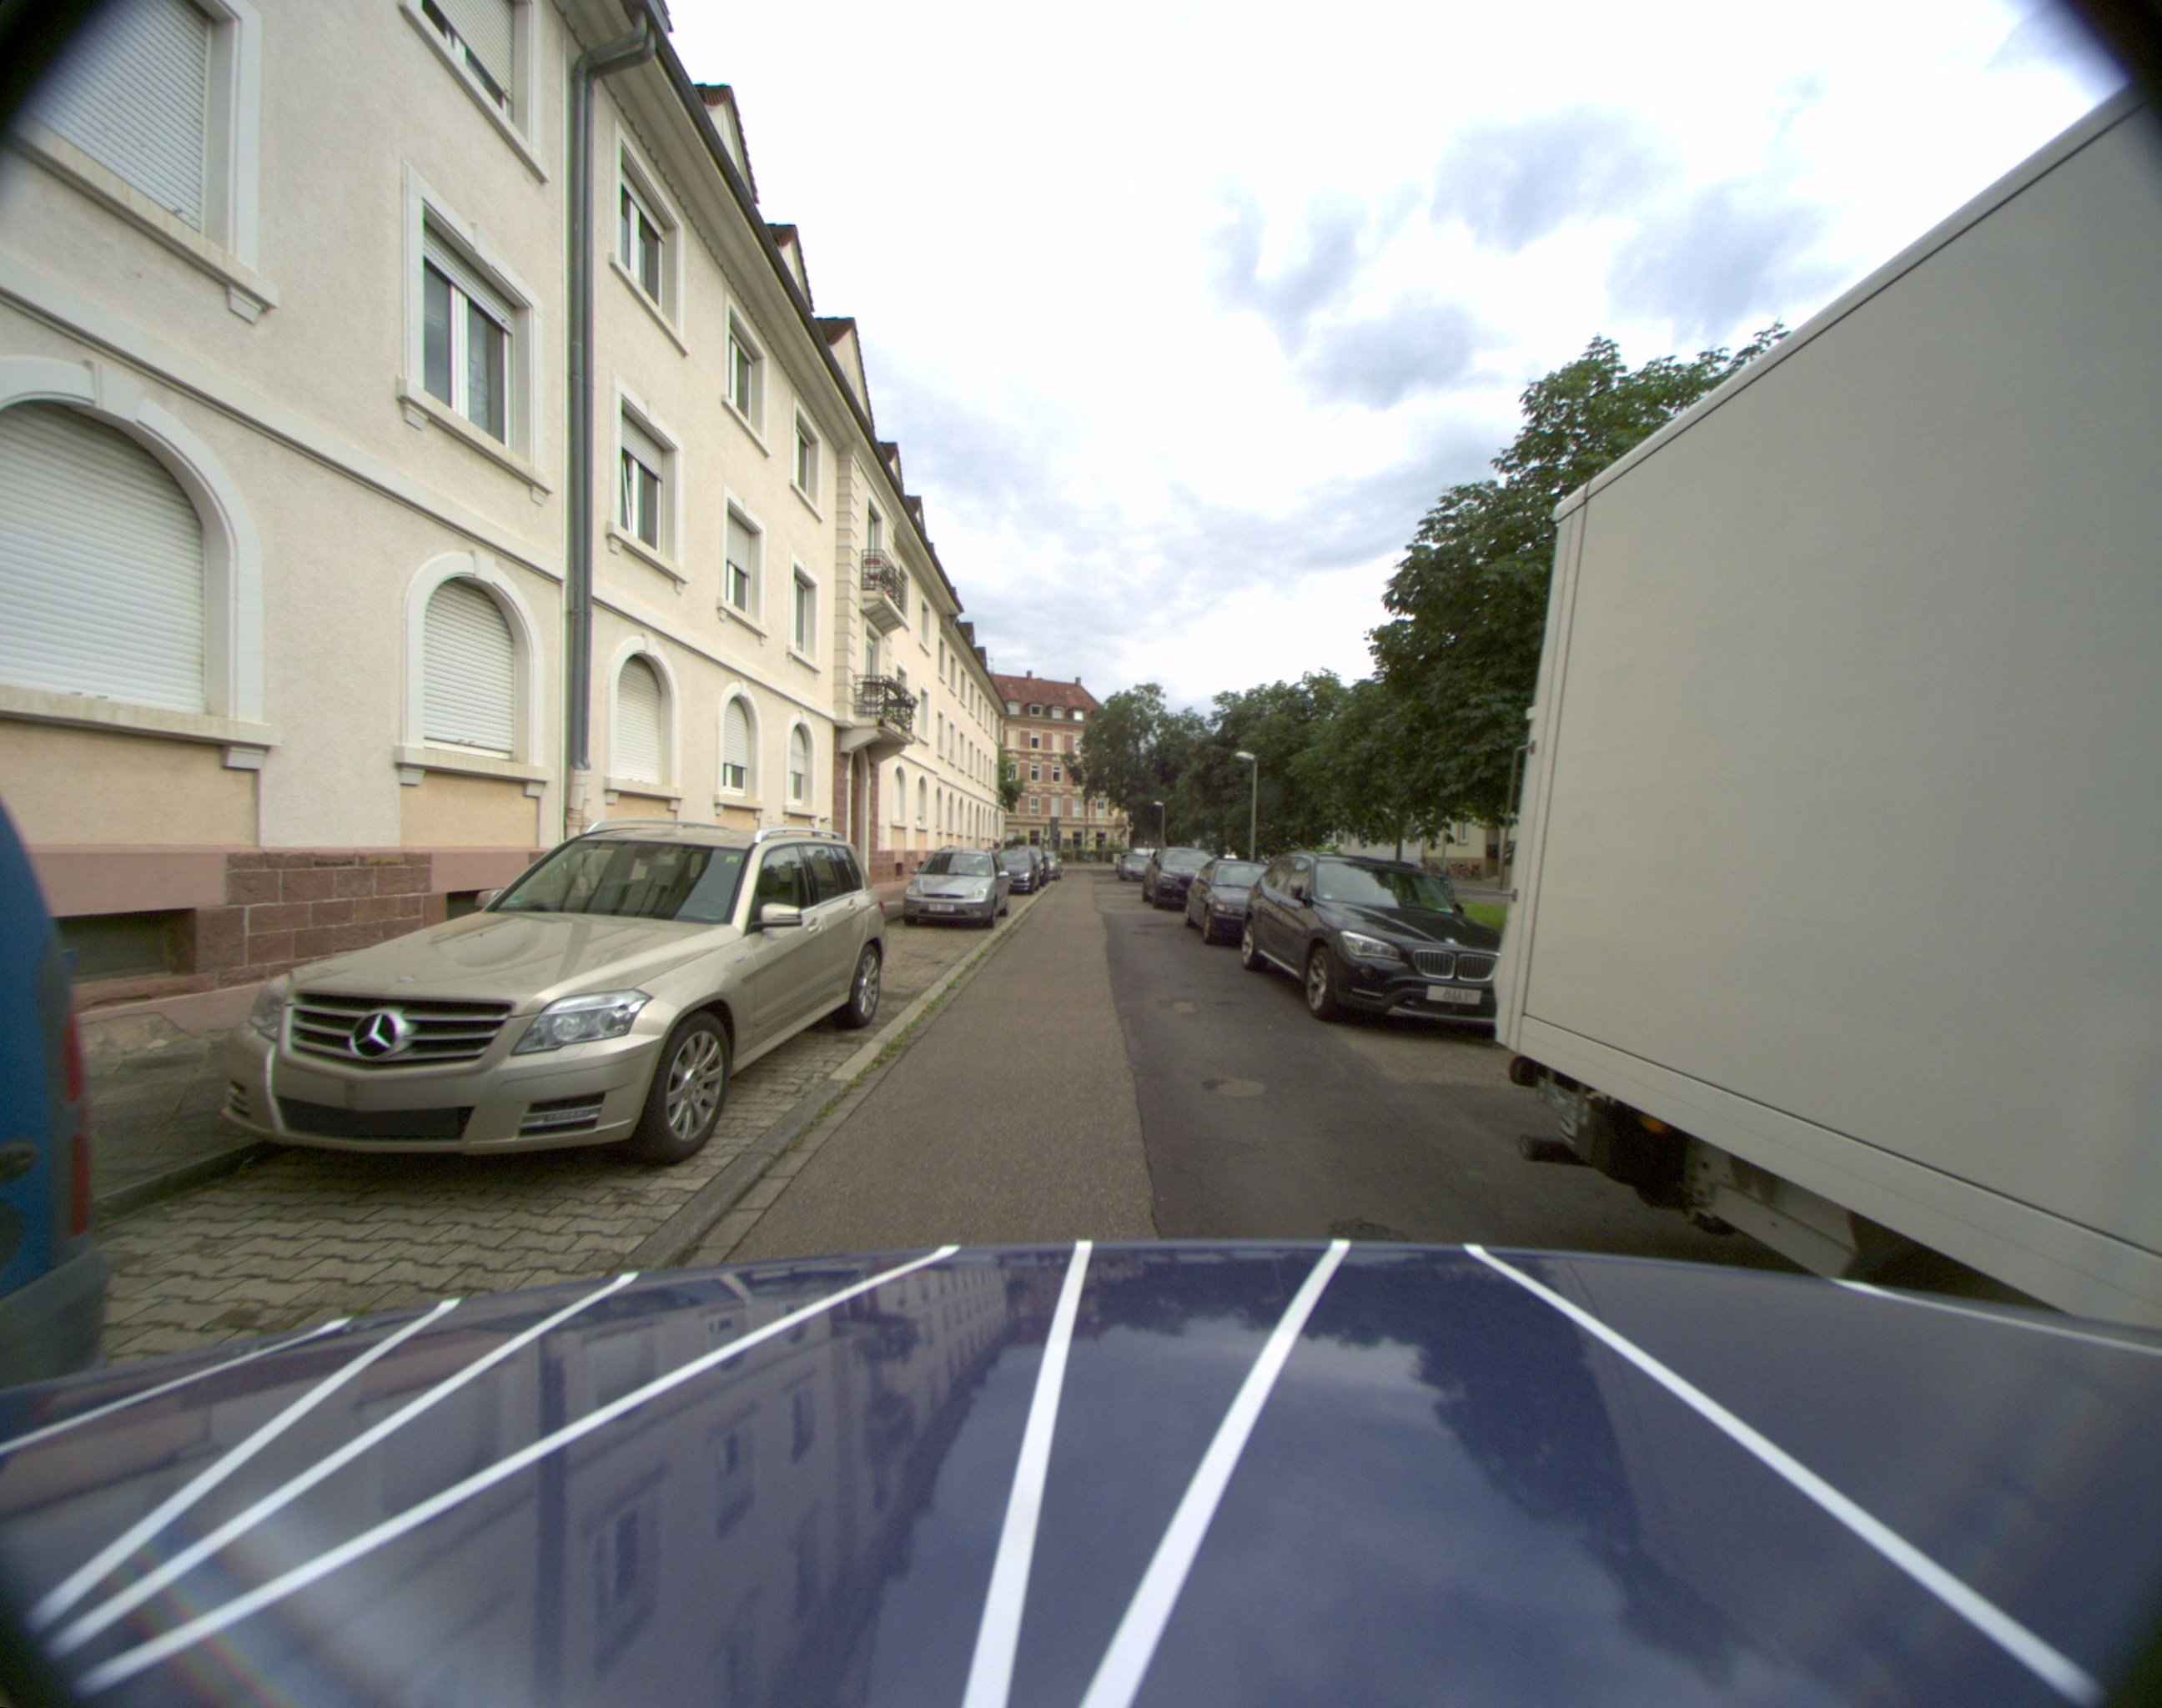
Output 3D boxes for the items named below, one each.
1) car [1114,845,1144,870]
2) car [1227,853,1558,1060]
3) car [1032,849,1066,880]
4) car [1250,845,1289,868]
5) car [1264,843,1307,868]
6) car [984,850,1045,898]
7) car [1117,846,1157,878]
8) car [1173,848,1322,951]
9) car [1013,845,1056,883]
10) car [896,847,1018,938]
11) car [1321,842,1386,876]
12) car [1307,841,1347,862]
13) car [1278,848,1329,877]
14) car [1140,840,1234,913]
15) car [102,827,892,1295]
[{"bbox_3d":[3.385,0.214,53.921,1.643,1.570,4.208,3,1,-1],"label":"car"},{"bbox_3d":[2.869,0.814,8.092,1.643,1.505,4.150,3,1,-1],"label":"car"},{"bbox_3d":[-1.600,0.512,38.826,1.455,1.388,4.010,4,1,1],"label":"car"},{"bbox_3d":[14.172,0.131,57.179,1.969,1.630,4.006,-1,1,1],"label":"car"},{"bbox_3d":[14.017,0.087,52.273,1.969,1.630,4.006,-1,1,1],"label":"car"},{"bbox_3d":[-2.189,0.609,25.989,1.609,1.392,4.010,4,1,1],"label":"car"},{"bbox_3d":[2.903,0.373,40.129,1.643,1.570,4.208,1,1,-1],"label":"car"},{"bbox_3d":[2.759,0.674,13.507,1.643,1.505,4.150,0,1,-1],"label":"car"},{"bbox_3d":[-2.015,0.413,34.008,1.609,1.576,4.010,1,1,1],"label":"car"},{"bbox_3d":[-2.362,0.662,15.439,1.686,1.505,3.954,4,1,1],"label":"car"},{"bbox_3d":[14.029,0.226,39.328,1.969,1.630,4.006,-1,1,1],"label":"car"},{"bbox_3d":[19.759,-0.210,61.301,1.969,1.630,4.006,-1,1,1],"label":"car"},{"bbox_3d":[13.533,0.477,46.369,1.969,1.630,4.006,-1,1,1],"label":"car"},{"bbox_3d":[2.789,0.537,20.893,1.785,1.698,4.314,3,1,-1],"label":"car"},{"bbox_3d":[-2.680,0.746,4.867,1.775,1.628,4.128,4,1,1],"label":"car"}]
